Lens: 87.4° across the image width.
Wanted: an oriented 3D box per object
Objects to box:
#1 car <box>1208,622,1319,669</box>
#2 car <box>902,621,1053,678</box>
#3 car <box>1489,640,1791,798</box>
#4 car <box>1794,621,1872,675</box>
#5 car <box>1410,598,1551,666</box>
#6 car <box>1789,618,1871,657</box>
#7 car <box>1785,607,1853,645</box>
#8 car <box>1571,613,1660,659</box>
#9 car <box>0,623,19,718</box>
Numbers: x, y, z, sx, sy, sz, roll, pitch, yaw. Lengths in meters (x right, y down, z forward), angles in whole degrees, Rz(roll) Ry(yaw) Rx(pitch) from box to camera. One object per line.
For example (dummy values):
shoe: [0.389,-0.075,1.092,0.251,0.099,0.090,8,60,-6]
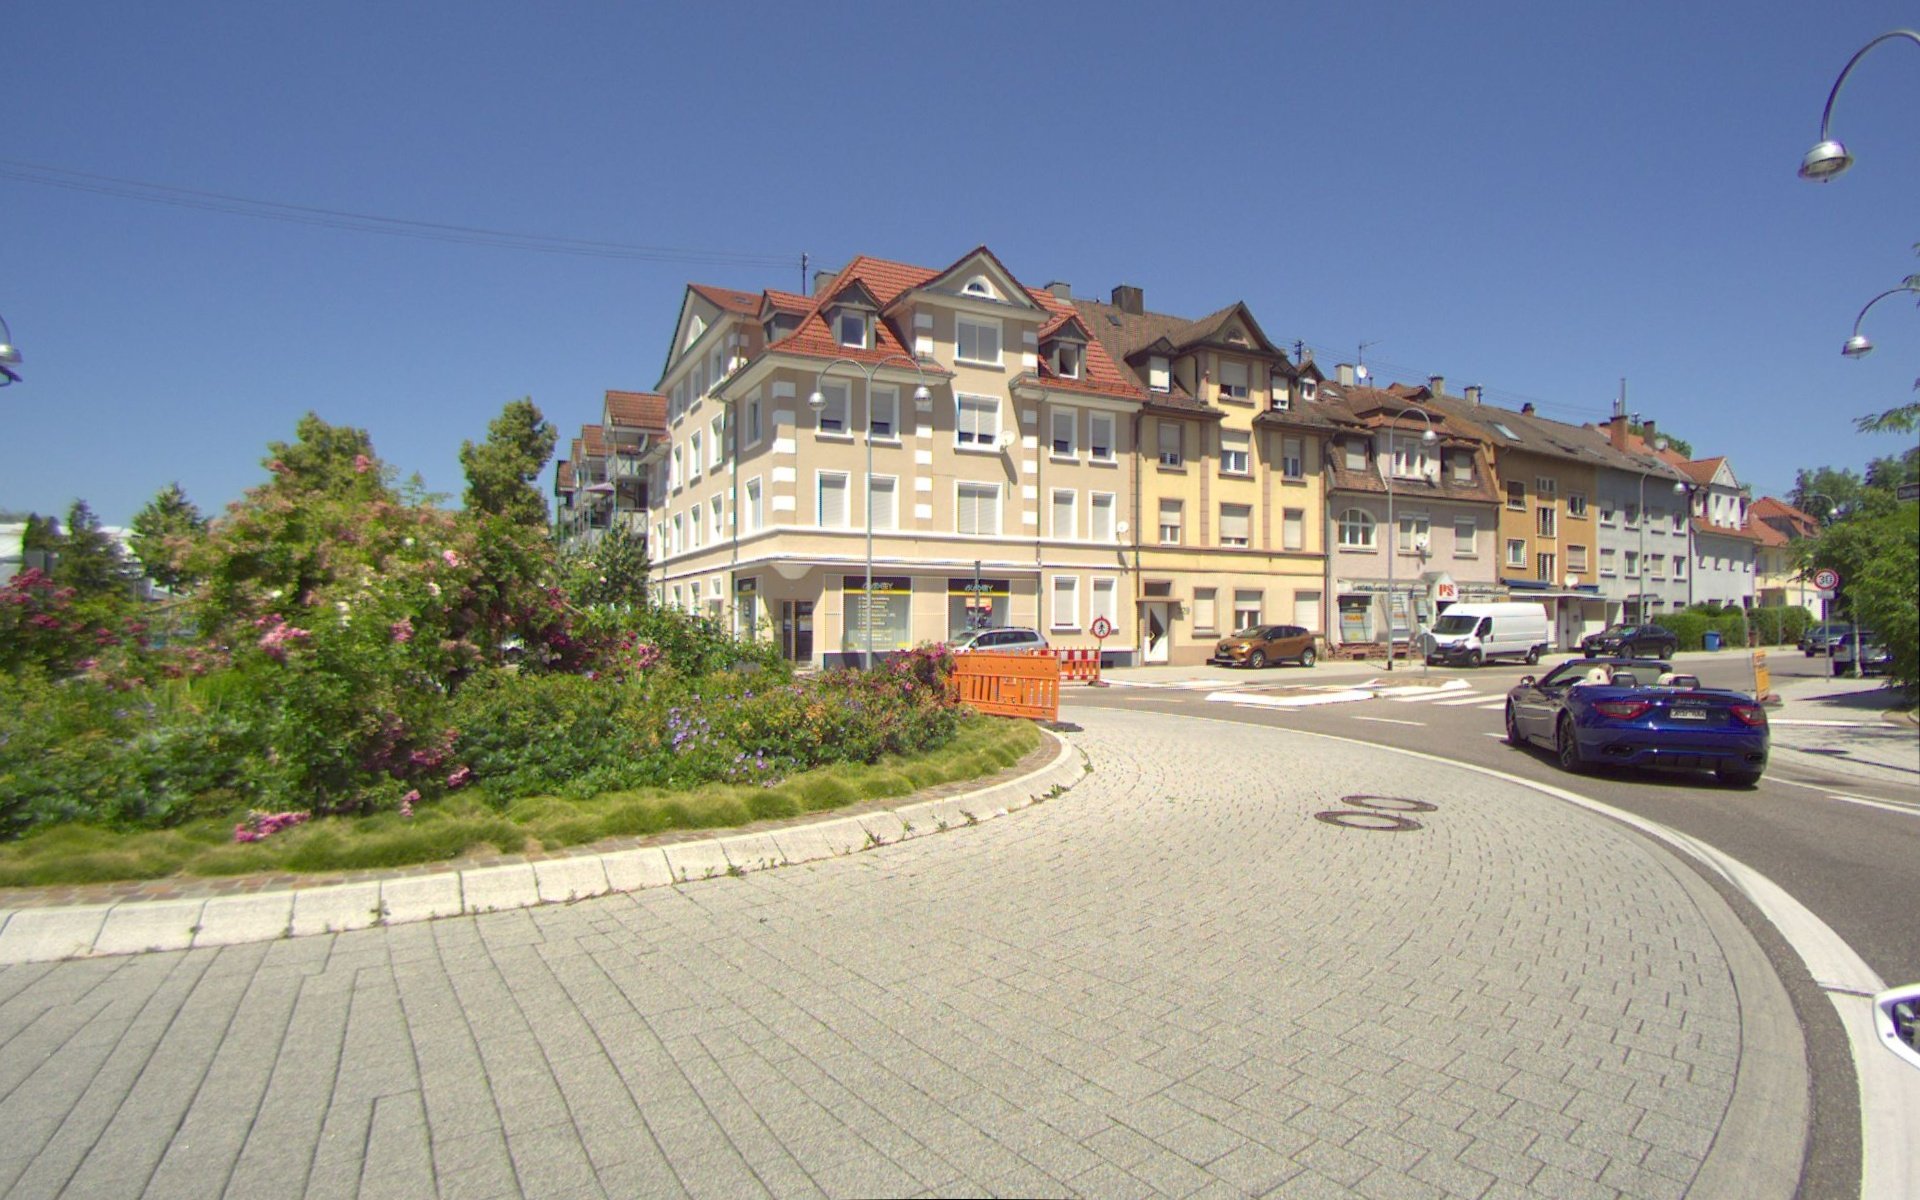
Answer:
car: [11.327,1.654,37.447,4.041,1.638,1.592,1,1,-29]
car: [0.584,1.547,32.377,4.636,1.708,1.768,1,-1,-29]
car: [8.274,1.400,12.760,1.839,1.549,4.511,2,-4,16]
car: [29.749,1.580,34.213,1.859,1.653,3.569,0,0,44]
car: [21.116,1.265,40.659,6.166,2.566,2.133,1,0,-31]
car: [42.439,1.837,48.970,4.170,1.838,1.982,1,-4,-34]
car: [48.002,1.474,56.123,3.962,2.040,2.053,1,-2,-36]
car: [30.132,1.659,46.164,3.959,2.040,2.055,1,-2,-34]
car: [-19.440,1.285,17.501,1.745,1.801,4.247,0,-2,8]
